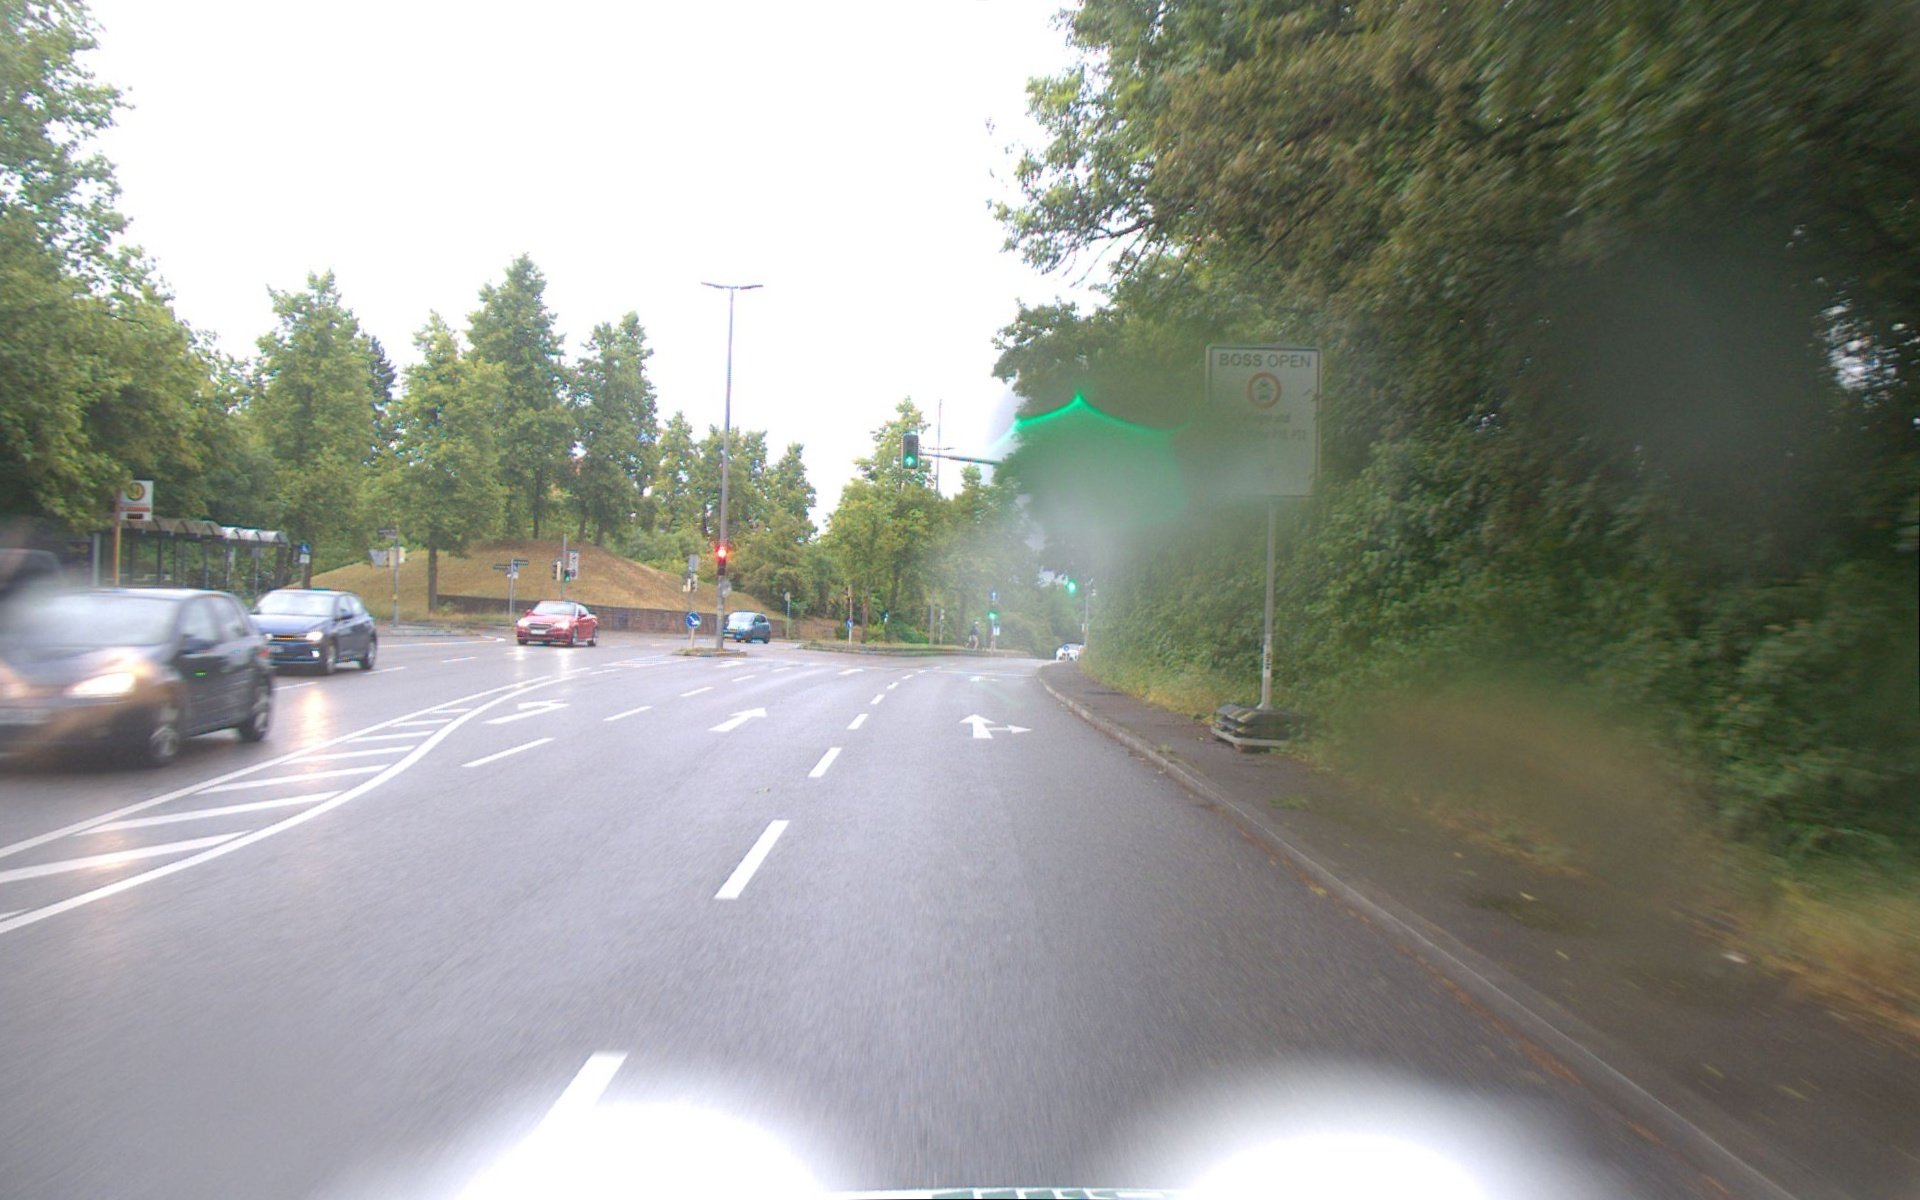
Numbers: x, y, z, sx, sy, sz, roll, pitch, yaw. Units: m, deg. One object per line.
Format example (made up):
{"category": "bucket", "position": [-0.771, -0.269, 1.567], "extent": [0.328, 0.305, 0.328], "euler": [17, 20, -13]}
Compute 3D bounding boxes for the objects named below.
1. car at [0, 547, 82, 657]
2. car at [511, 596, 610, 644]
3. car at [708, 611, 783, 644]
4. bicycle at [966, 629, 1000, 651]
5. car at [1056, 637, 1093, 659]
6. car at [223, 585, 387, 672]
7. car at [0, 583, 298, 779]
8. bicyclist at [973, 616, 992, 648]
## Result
{"category": "car", "position": [-18.599, 0.045, 29.348], "extent": [2.060, 1.980, 5.158], "euler": [0, 1, 24]}
{"category": "car", "position": [-12.568, 0.598, 52.317], "extent": [1.836, 1.398, 4.386], "euler": [1, 0, 3]}
{"category": "car", "position": [-10.519, 1.340, 81.279], "extent": [1.953, 1.516, 3.936], "euler": [1, 0, 22]}
{"category": "bicycle", "position": [1.354, 2.312, 95.465], "extent": [2.122, 1.163, 0.545], "euler": [5, -2, -43]}
{"category": "car", "position": [9.805, 4.143, 141.494], "extent": [1.904, 1.664, 5.006], "euler": [3, -2, 18]}
{"category": "car", "position": [-11.518, 0.472, 29.325], "extent": [1.599, 1.419, 3.996], "euler": [1, 0, -5]}
{"category": "car", "position": [-7.357, 0.606, 14.665], "extent": [1.668, 1.452, 4.073], "euler": [2, 0, -6]}
{"category": "bicyclist", "position": [1.282, 1.825, 95.370], "extent": [0.795, 1.783, 0.714], "euler": [6, -6, -43]}
